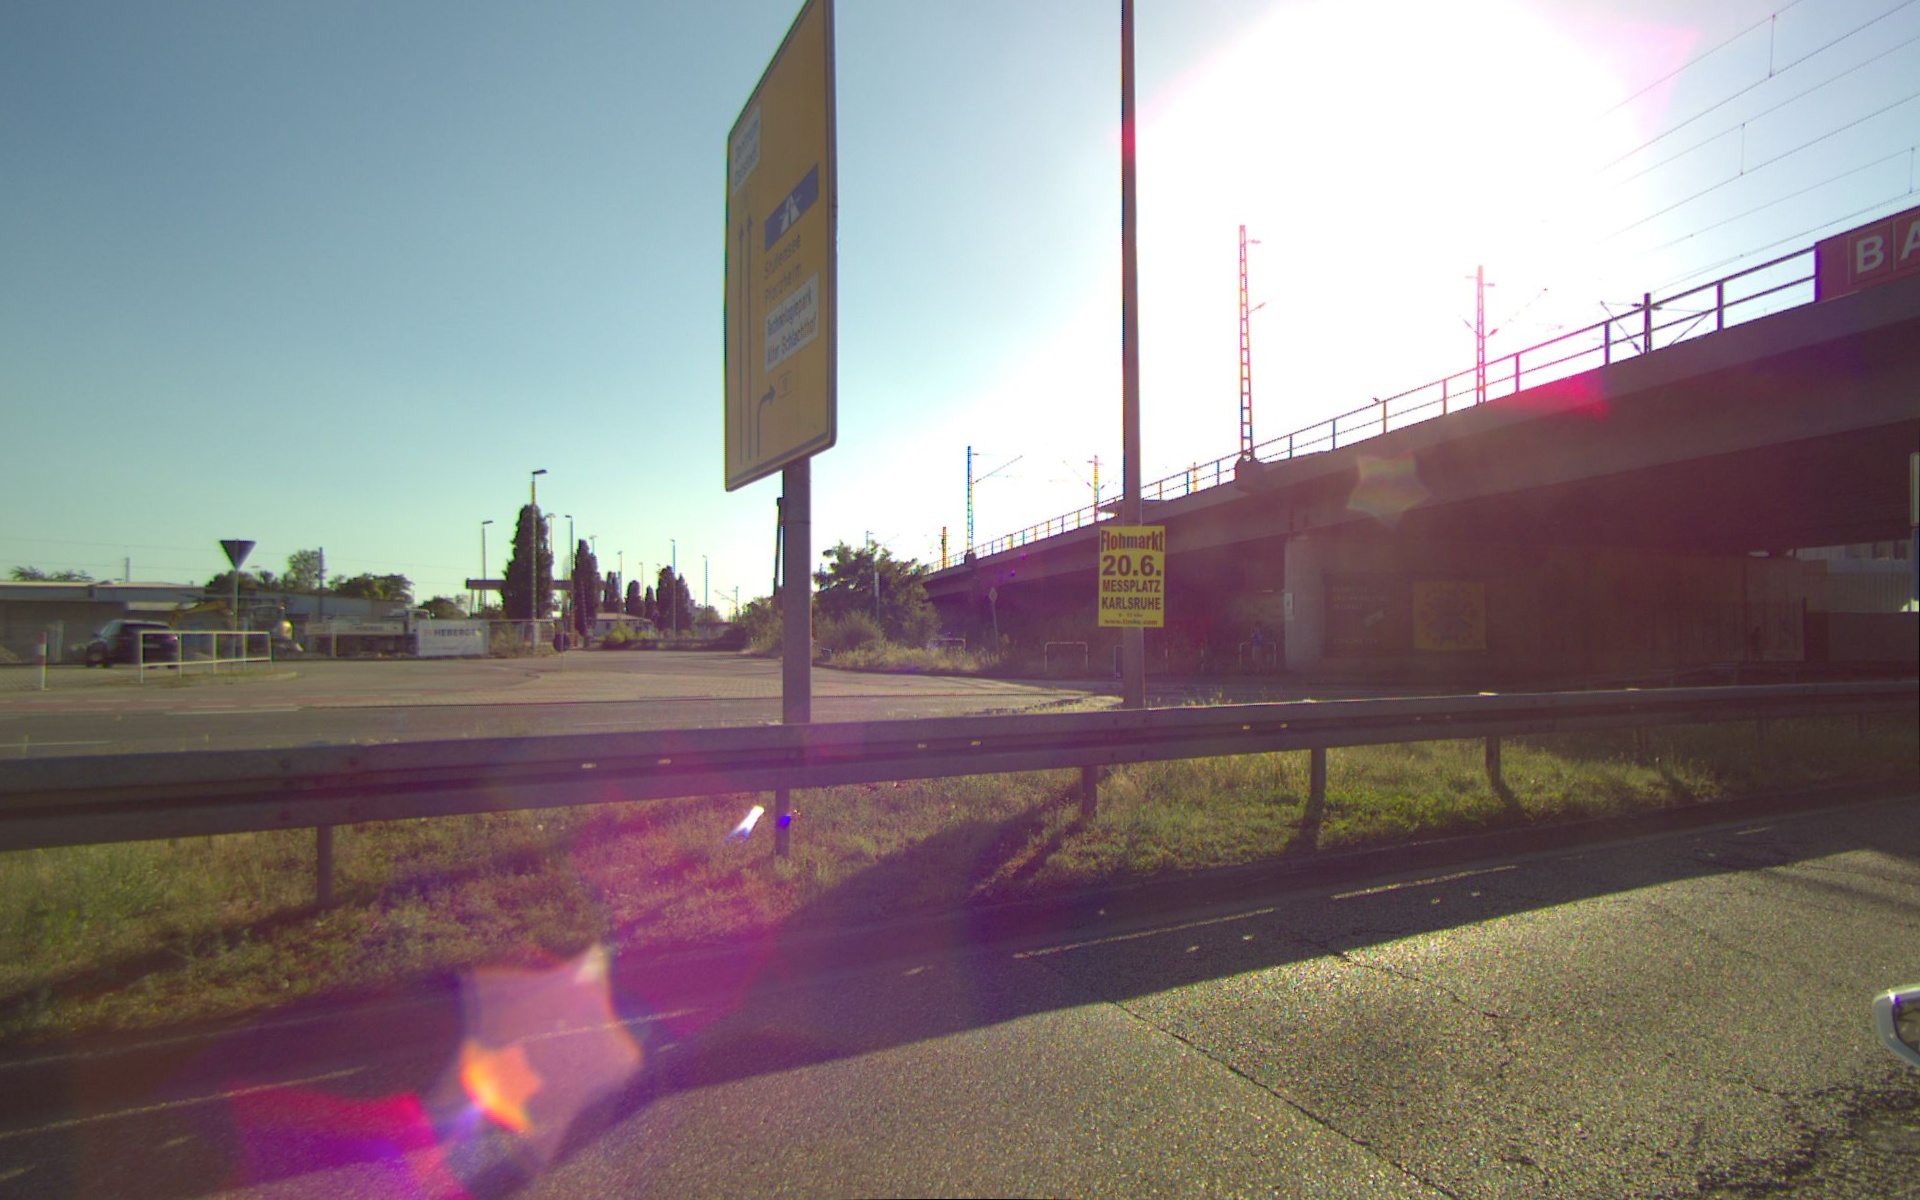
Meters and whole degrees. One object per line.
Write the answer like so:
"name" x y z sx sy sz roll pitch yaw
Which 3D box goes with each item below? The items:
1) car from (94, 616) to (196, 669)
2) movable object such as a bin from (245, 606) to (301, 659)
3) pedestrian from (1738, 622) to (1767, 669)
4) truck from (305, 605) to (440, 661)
"car" -25.571 1.311 31.483 3.942 1.550 1.835 0 -3 42
"movable object such as a bin" -36.316 1.728 53.097 2.202 2.750 1.719 3 -2 -39
"pedestrian" 32.656 1.870 41.383 0.655 1.928 0.693 2 -2 -21
"truck" -35.611 2.057 61.205 2.395 3.186 6.770 0 -2 28
